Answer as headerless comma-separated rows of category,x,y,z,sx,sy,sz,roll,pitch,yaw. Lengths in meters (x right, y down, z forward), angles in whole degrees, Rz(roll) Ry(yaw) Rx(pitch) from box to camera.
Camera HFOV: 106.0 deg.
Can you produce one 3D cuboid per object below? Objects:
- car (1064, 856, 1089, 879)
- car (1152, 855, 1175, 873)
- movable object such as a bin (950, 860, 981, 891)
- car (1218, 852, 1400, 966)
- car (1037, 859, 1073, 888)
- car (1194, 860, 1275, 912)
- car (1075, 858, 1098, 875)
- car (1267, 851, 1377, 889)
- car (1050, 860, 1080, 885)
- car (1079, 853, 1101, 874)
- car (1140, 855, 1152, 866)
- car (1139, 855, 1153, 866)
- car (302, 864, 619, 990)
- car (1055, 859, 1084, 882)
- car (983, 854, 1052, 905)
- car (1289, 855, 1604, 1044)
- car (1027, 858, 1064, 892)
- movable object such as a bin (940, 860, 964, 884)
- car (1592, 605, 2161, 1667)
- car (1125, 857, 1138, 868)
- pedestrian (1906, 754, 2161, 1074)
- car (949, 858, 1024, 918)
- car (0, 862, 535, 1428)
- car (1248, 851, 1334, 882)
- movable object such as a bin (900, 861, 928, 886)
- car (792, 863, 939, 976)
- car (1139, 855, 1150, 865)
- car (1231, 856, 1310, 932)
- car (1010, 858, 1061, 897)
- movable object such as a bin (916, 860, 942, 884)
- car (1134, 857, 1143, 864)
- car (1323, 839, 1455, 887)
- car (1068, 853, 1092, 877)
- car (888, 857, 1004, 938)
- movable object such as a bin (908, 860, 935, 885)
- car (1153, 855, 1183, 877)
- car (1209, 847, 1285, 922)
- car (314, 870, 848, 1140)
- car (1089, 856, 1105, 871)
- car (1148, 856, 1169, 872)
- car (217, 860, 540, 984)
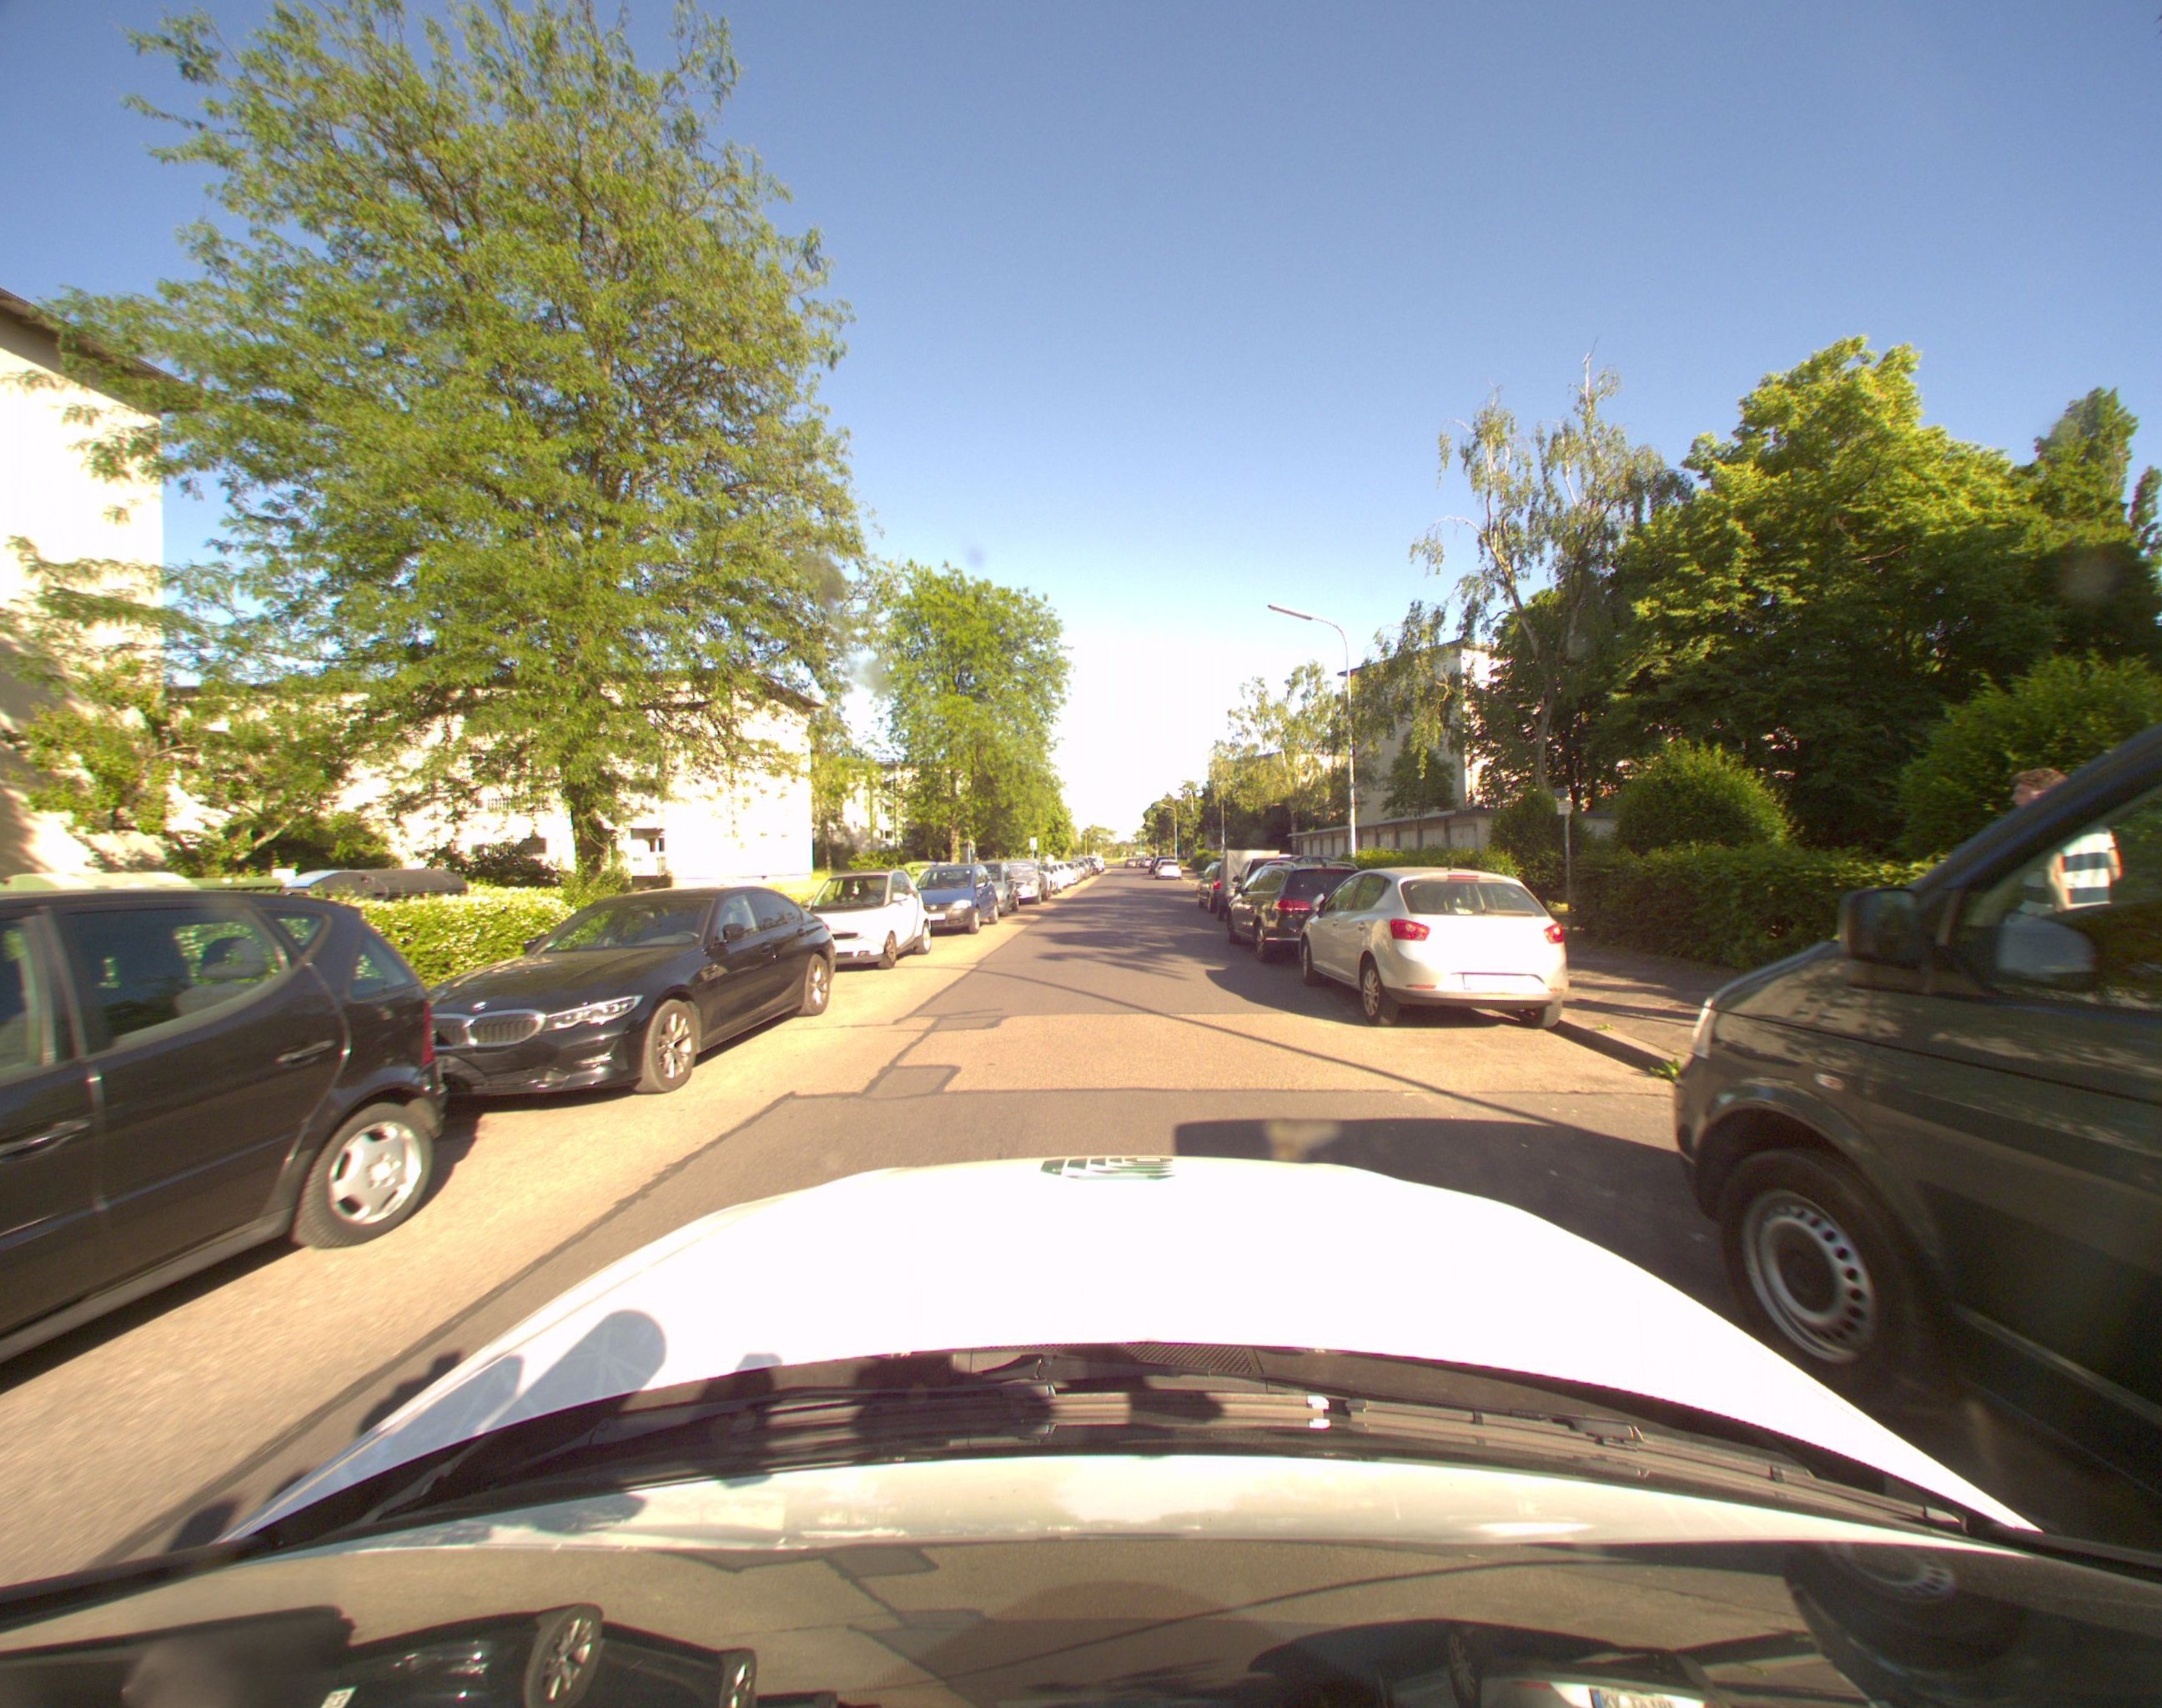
car,-0.296,1.036,62.919,1.703,1.600,3.987,-4,0,1
car,7.561,0.887,75.129,1.900,1.639,4.632,-1,0,3
movable object such as a bin,-5.449,0.998,38.580,1.131,1.382,1.443,1,0,4
car,3.480,0.757,13.341,1.726,1.490,4.501,-2,0,1
car,-1.434,1.070,46.696,1.680,1.535,3.893,-2,0,2
car,4.433,0.888,24.086,1.726,1.403,3.895,0,0,1
car,0.566,1.154,78.344,1.738,1.533,4.145,-3,0,5
car,10.996,0.729,37.413,4.493,1.513,1.831,-2,0,4
car,-1.002,1.151,52.387,1.680,1.505,3.819,-2,0,1
car,0.981,0.968,84.522,1.906,1.962,5.092,-3,0,3
car,10.895,1.107,137.070,1.789,1.786,3.952,0,0,1
car,9.614,1.003,121.190,1.789,1.561,3.952,0,0,1
car,-8.808,0.922,12.074,1.565,1.525,4.001,0,0,1
car,-0.795,1.172,57.937,1.680,1.465,4.528,-4,0,3
car,-2.224,0.874,29.835,1.895,1.640,4.352,-2,0,3
car,3.405,0.763,8.470,1.616,1.490,4.038,0,0,2
car,-1.765,1.006,40.230,1.659,1.513,3.534,-2,0,-3
movable object such as a bin,-7.946,1.099,50.194,1.129,1.421,1.362,1,0,4
car,2.866,0.512,0.883,1.845,1.934,4.707,0,0,2
car,7.437,1.218,120.046,1.674,1.513,4.104,0,0,1
pedestrian,6.246,0.363,5.329,0.700,1.888,0.873,-4,-1,4
car,-2.753,0.951,24.311,1.629,1.606,3.537,-2,0,2
car,-3.928,0.873,2.560,1.748,1.574,3.721,-3,0,2
car,11.722,0.671,45.683,4.396,1.513,1.830,-2,0,3
movable object such as a bin,-9.548,1.101,46.527,1.172,1.421,1.464,1,0,5
car,-3.491,0.998,13.719,1.439,1.574,3.144,-3,0,2
car,11.028,1.073,141.694,1.789,1.643,3.952,0,0,1
car,4.067,0.818,17.743,1.407,1.523,2.563,0,0,7
car,-1.901,0.973,35.355,1.655,1.513,3.950,-2,0,4
movable object such as a bin,-9.265,1.105,49.675,1.172,1.421,1.464,1,0,5
car,12.405,1.387,176.562,1.789,1.549,3.952,0,0,1
car,10.846,0.311,28.867,3.930,1.513,1.828,-2,0,0
car,-0.052,0.887,69.261,1.847,1.892,4.419,-3,0,1
car,-3.055,0.937,19.282,1.746,1.606,3.973,-4,0,4
movable object such as a bin,-9.418,1.090,48.159,1.172,1.421,1.464,1,0,5
car,6.259,0.833,58.913,1.747,1.513,4.104,0,0,1
car,4.053,0.713,20.217,1.483,1.718,2.585,0,0,3
car,-3.718,0.974,7.256,1.747,1.481,4.539,-4,0,2
car,1.927,1.126,98.294,1.739,1.732,4.008,-3,0,3
car,7.678,1.010,80.983,1.900,1.531,4.331,-1,0,3
car,-10.706,0.919,12.869,1.565,1.641,4.001,0,0,1
